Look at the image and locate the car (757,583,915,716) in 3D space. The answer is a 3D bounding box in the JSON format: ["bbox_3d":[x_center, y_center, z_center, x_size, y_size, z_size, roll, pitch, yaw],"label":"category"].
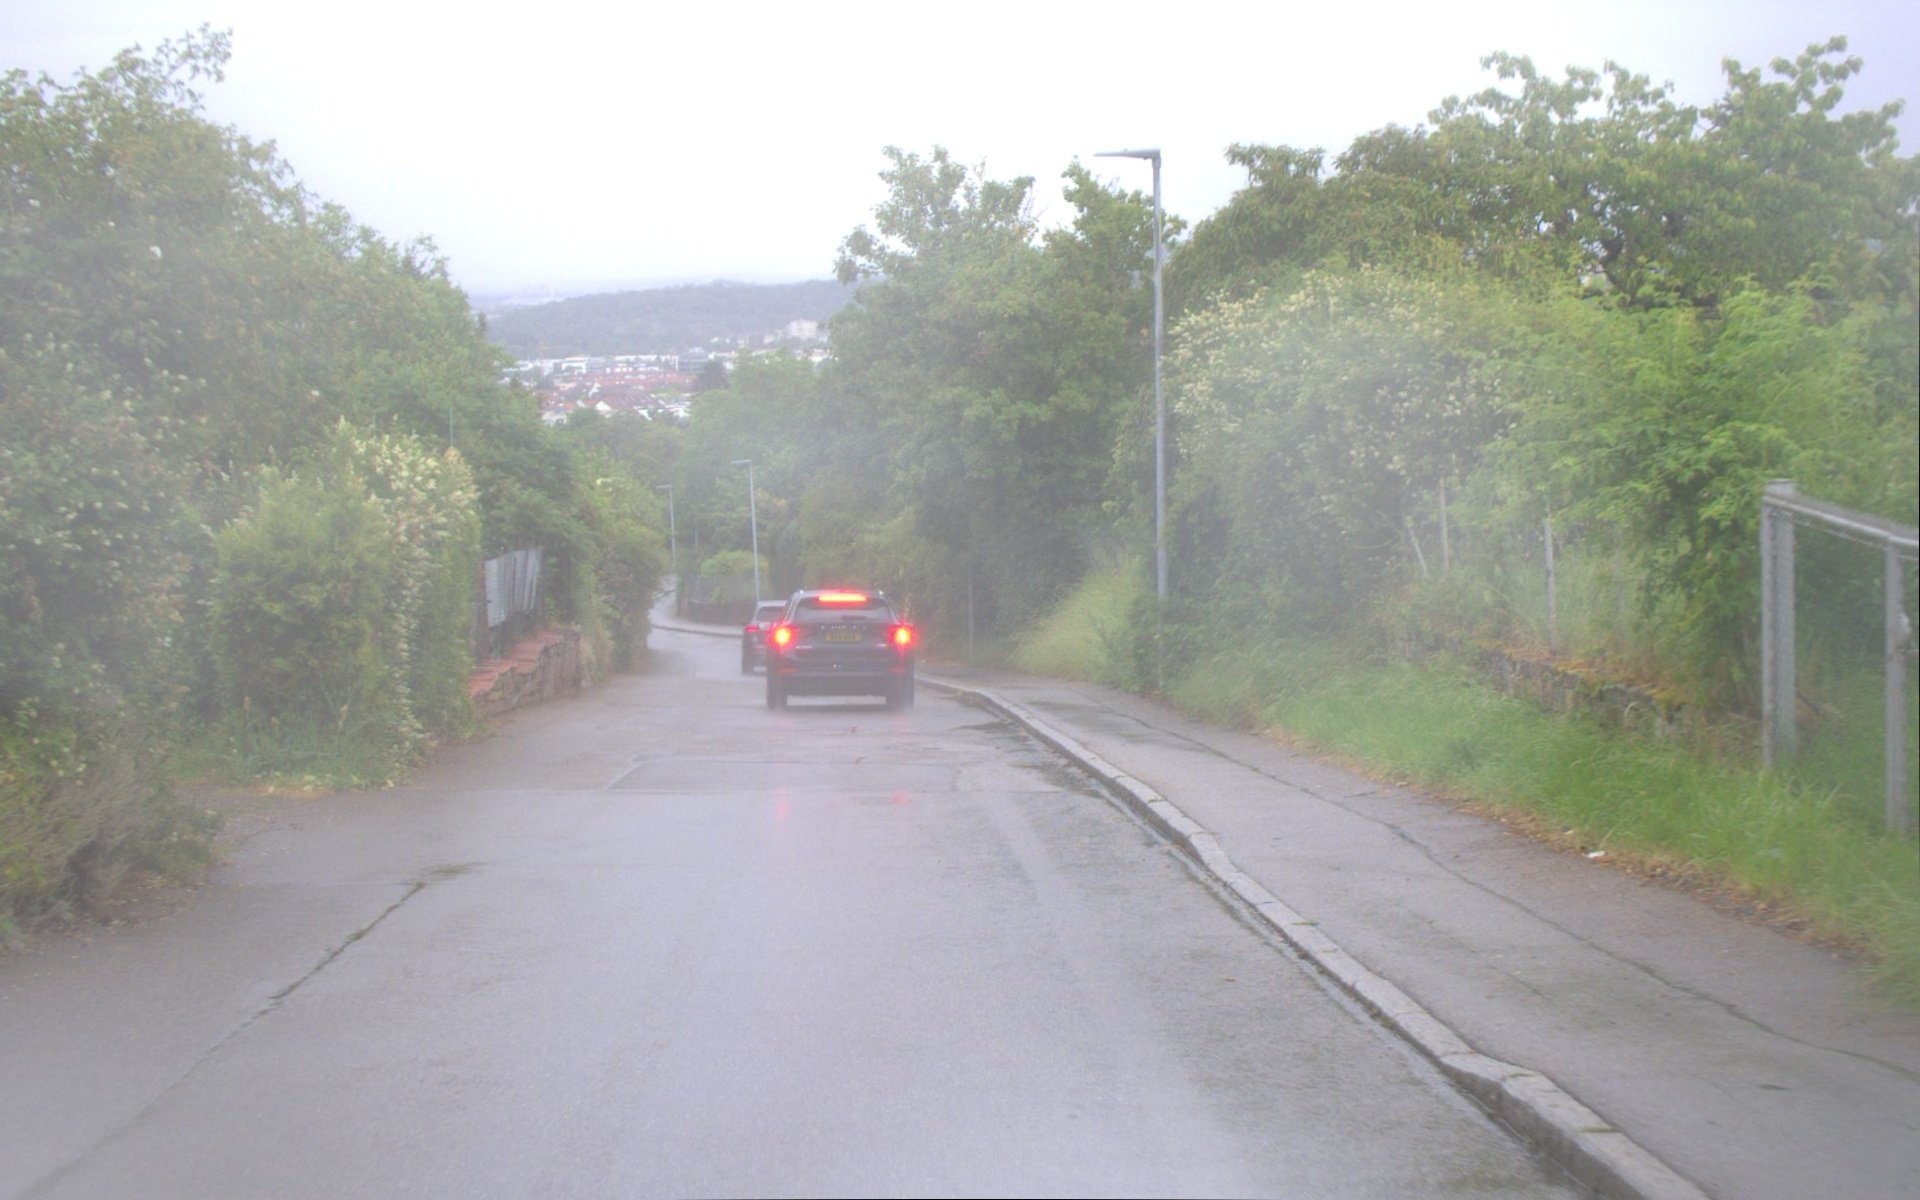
[{"bbox_3d":[-1.578,0.576,42.415,1.834,1.459,4.001,-1,1,-3],"label":"car"}]

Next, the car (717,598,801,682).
[{"bbox_3d":[-4.215,0.819,72.415,1.678,1.560,3.795,0,2,-2],"label":"car"}]
